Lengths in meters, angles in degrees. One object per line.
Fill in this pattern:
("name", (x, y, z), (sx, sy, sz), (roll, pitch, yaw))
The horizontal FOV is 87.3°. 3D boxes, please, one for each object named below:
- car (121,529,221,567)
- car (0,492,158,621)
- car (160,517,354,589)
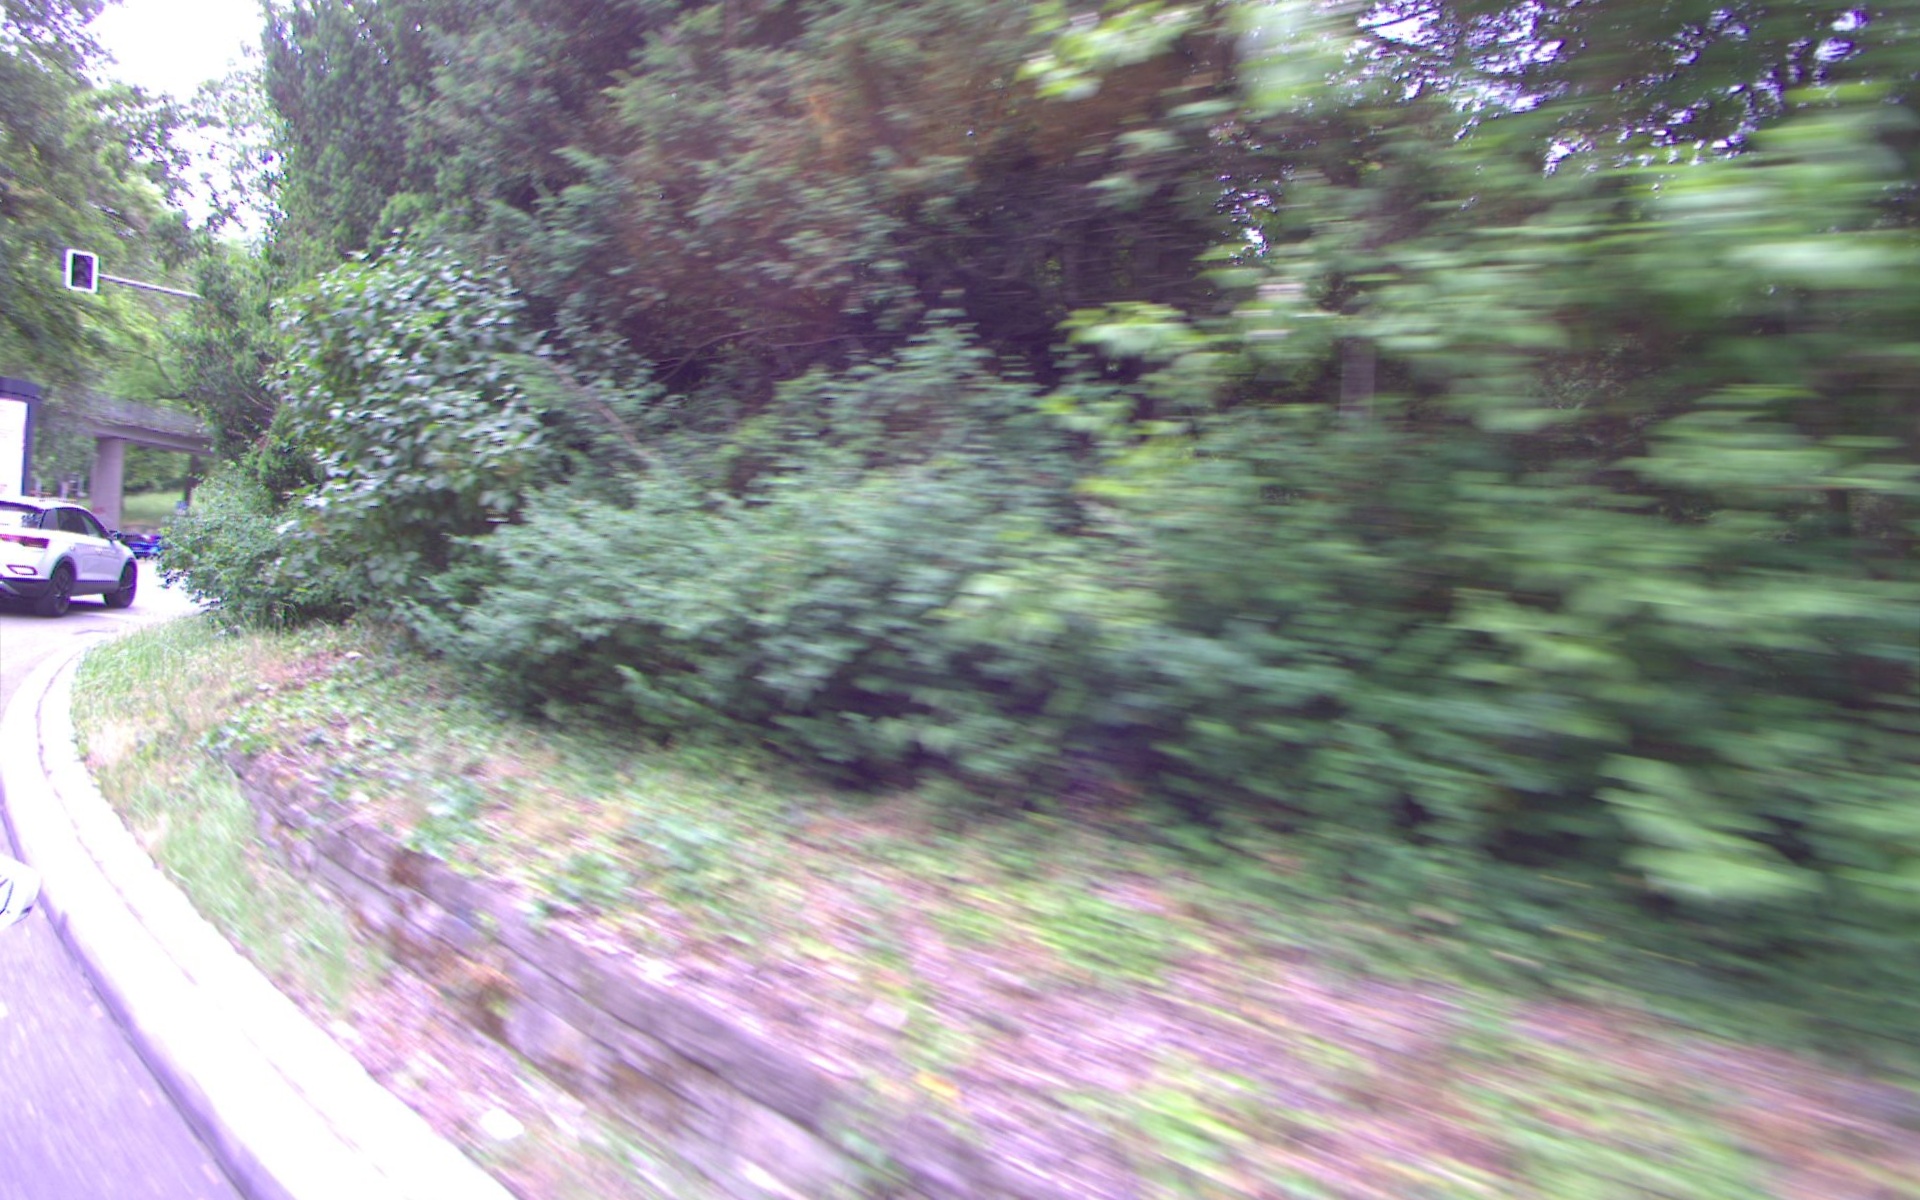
("car", (-41.784, -2.717, 53.387), (1.742, 1.571, 4.003), (4, -1, 9))
("car", (-13.350, -0.682, 14.407), (1.737, 1.571, 4.313), (6, -1, -24))
("car", (-19.629, -1.243, 28.398), (1.836, 1.553, 4.777), (6, 0, 3))
